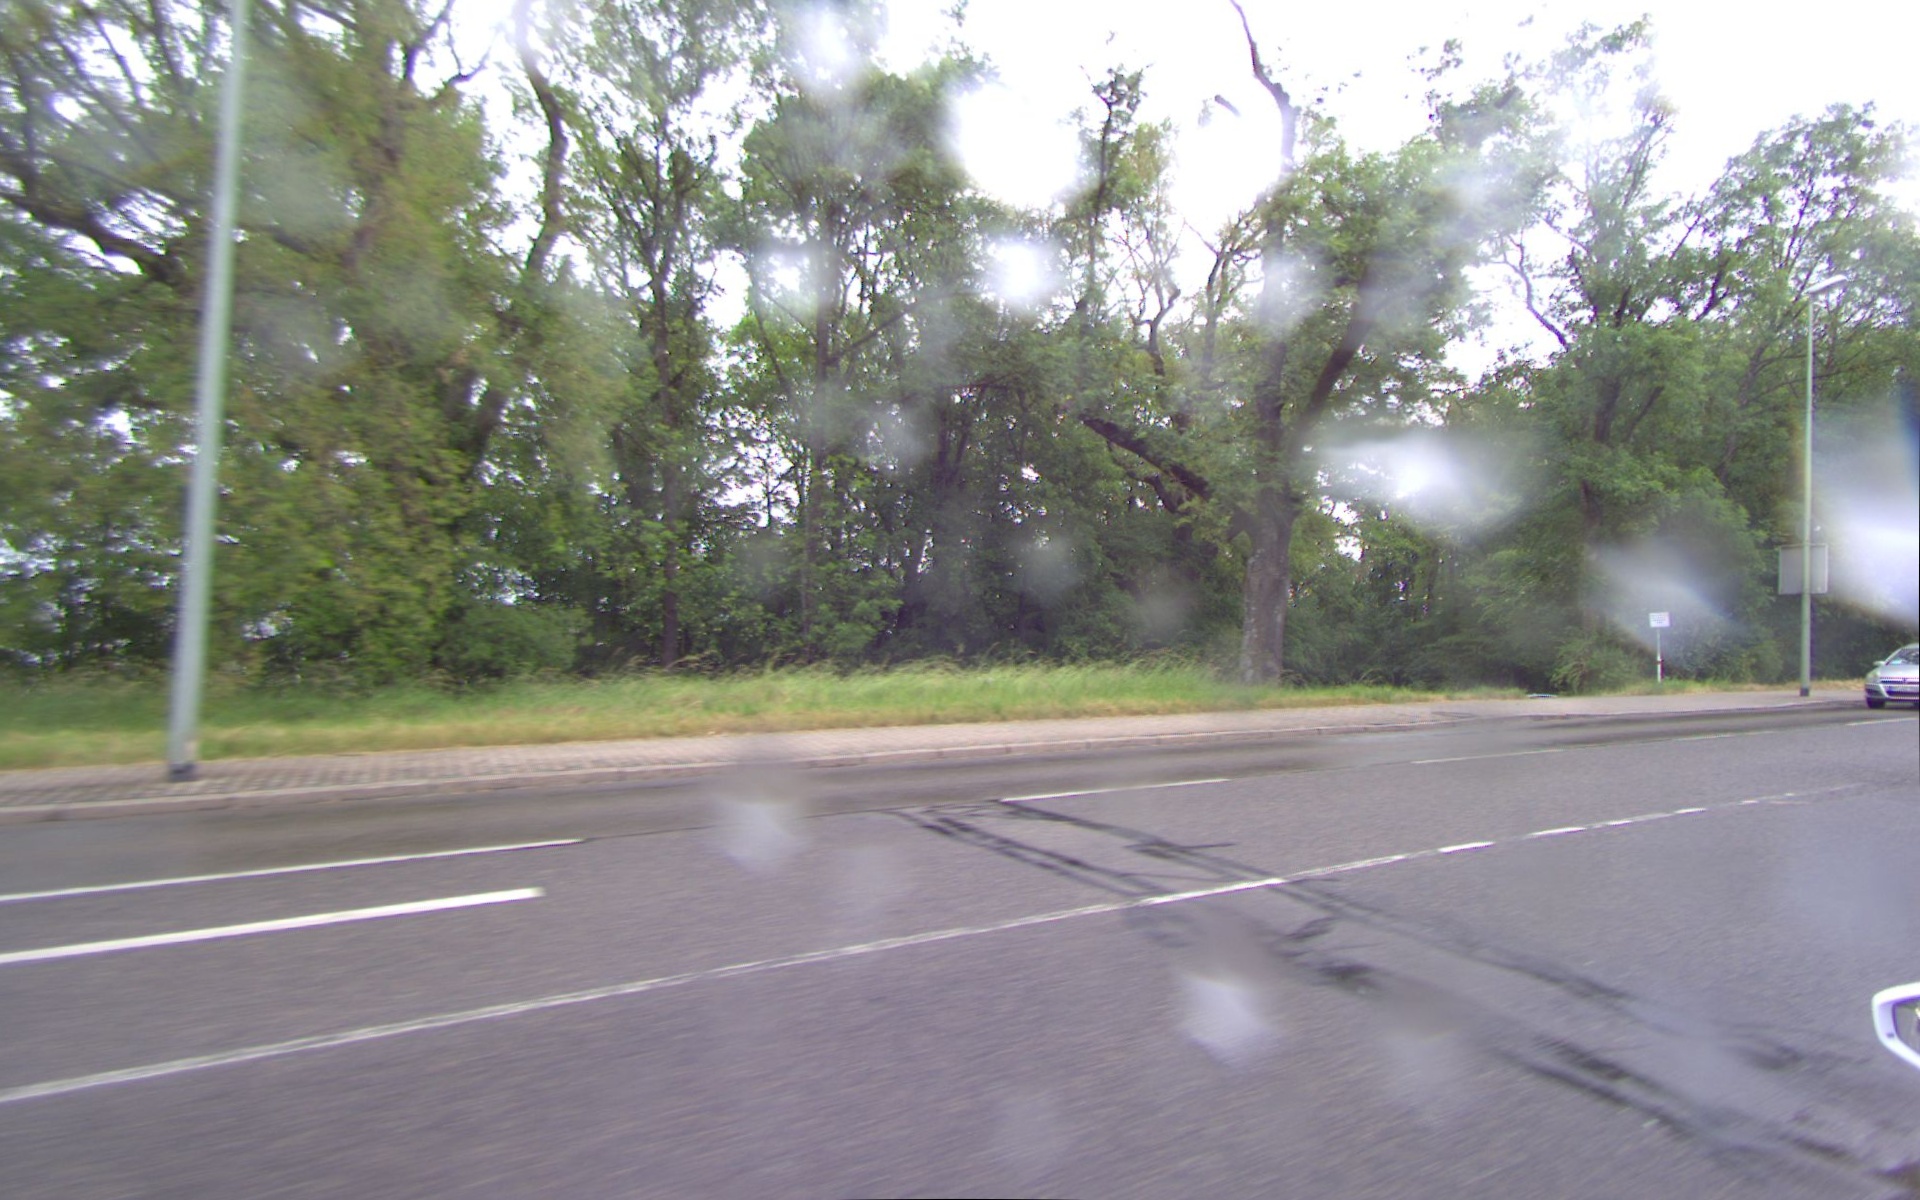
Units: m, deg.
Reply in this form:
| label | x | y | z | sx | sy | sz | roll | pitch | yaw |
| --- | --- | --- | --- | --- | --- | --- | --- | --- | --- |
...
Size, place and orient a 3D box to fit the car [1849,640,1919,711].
| label | x | y | z | sx | sy | sz | roll | pitch | yaw |
| --- | --- | --- | --- | --- | --- | --- | --- | --- | --- |
| car | 22.159 | 1.686 | 22.764 | 4.400 | 1.502 | 1.682 | 2 | -4 | -30 |
